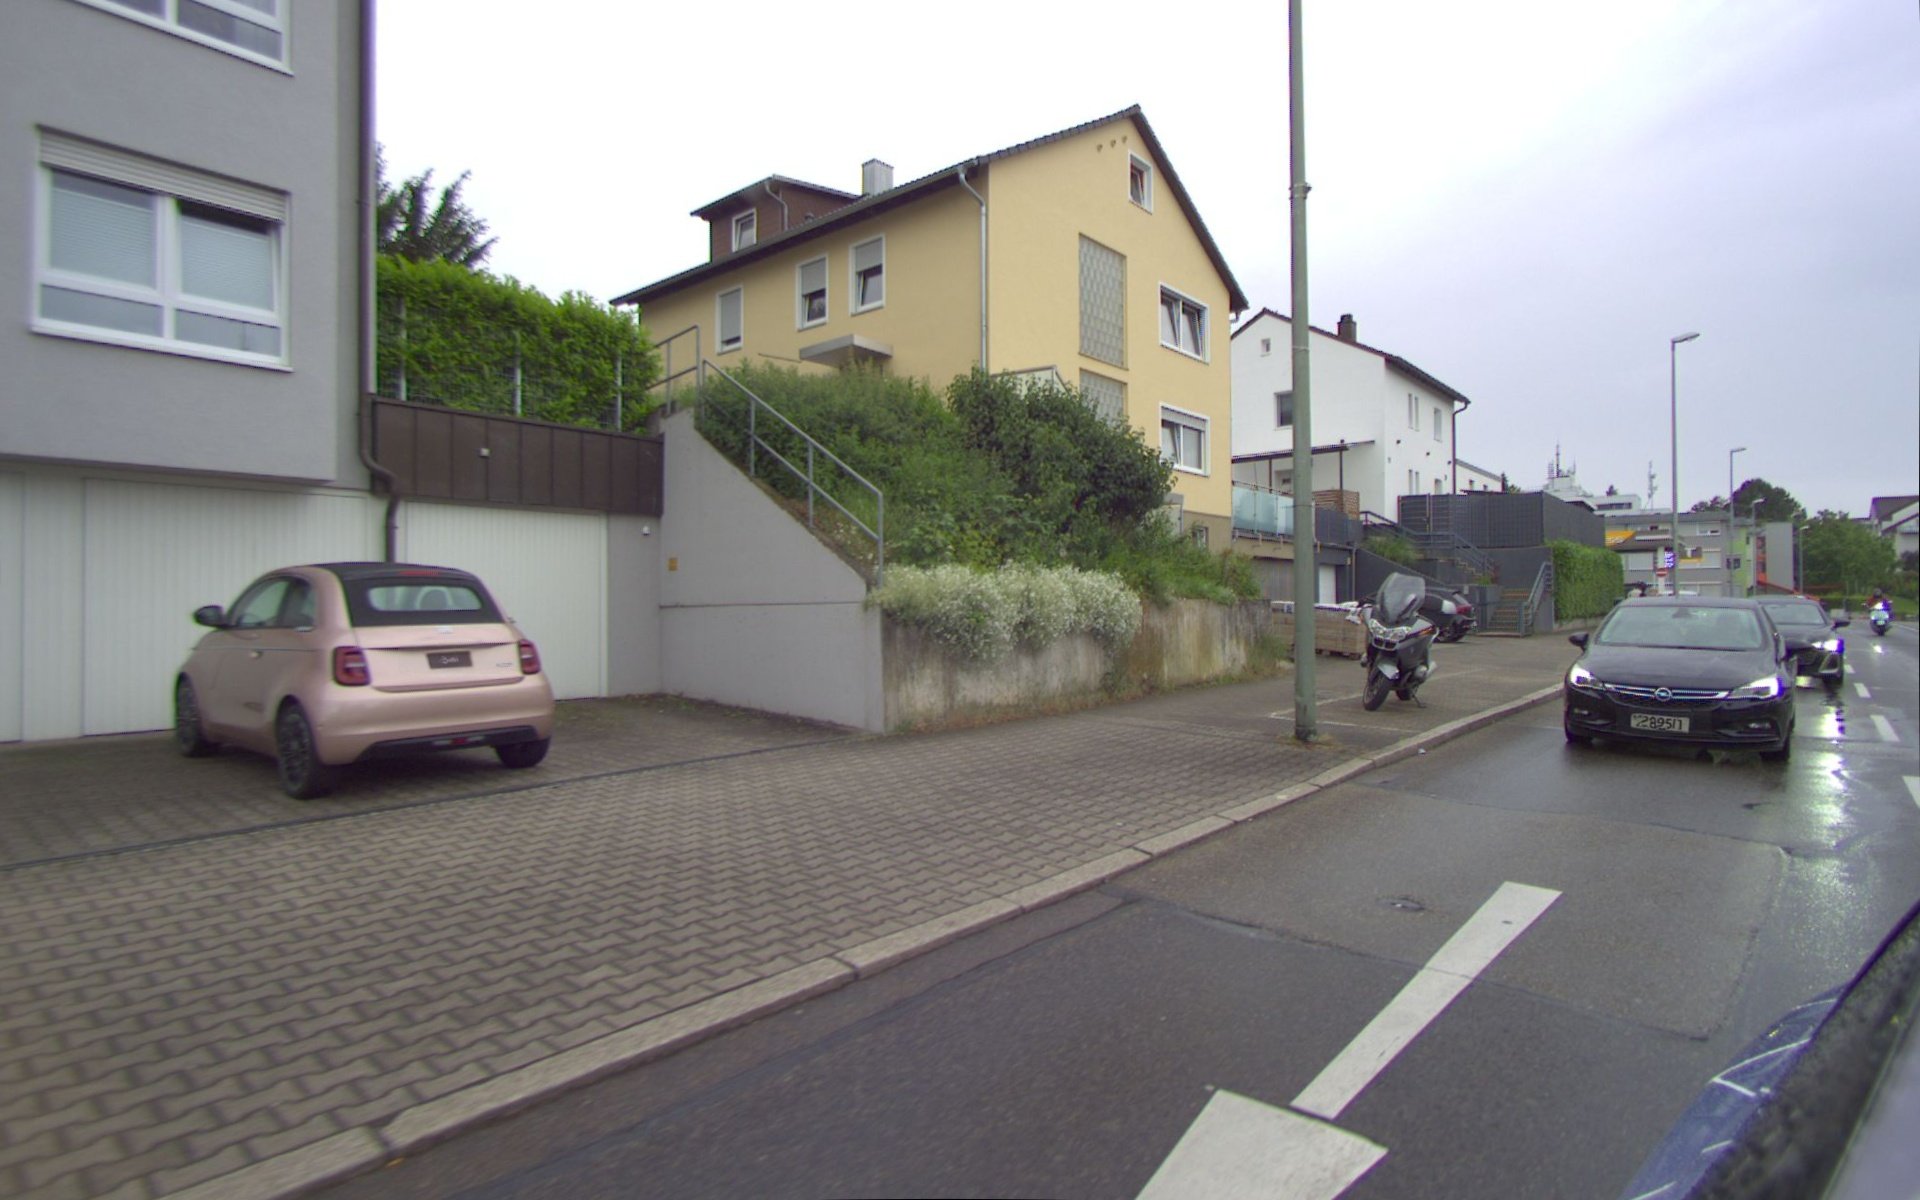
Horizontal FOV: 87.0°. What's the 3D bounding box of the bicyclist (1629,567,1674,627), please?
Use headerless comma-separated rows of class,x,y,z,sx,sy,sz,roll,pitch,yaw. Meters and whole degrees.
bicyclist,19.556,-0.094,28.619,0.890,1.663,0.809,0,1,-39

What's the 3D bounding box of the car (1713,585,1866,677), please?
car,14.902,0.522,18.086,1.904,1.416,4.782,1,-1,42

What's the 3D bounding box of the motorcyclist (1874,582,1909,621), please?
motorcyclist,35.217,0.047,38.256,0.950,1.439,0.977,0,1,44

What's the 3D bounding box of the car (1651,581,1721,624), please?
car,27.375,0.060,38.105,1.731,1.508,3.940,1,2,42

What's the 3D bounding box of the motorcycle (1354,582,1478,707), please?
motorcycle,5.459,0.460,12.017,0.691,1.341,2.443,1,1,40

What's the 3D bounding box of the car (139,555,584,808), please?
car,-4.731,0.469,7.848,3.623,1.504,1.788,0,0,38

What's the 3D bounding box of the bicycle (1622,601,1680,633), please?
bicycle,19.572,0.465,28.638,2.194,0.837,0.733,-1,1,-39

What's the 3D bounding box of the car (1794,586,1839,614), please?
car,47.659,0.025,56.372,1.833,1.500,3.943,1,0,39

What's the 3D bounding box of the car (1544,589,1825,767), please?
car,7.475,0.607,10.282,1.836,1.415,3.938,1,1,43

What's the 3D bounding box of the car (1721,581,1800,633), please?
car,26.450,0.241,33.394,1.835,1.476,3.938,1,-3,42

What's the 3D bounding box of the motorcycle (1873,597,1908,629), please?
motorcycle,35.278,0.475,38.340,0.942,1.121,2.368,0,1,44

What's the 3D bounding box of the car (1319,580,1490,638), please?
car,11.916,0.192,27.238,3.975,1.420,1.652,1,1,36
